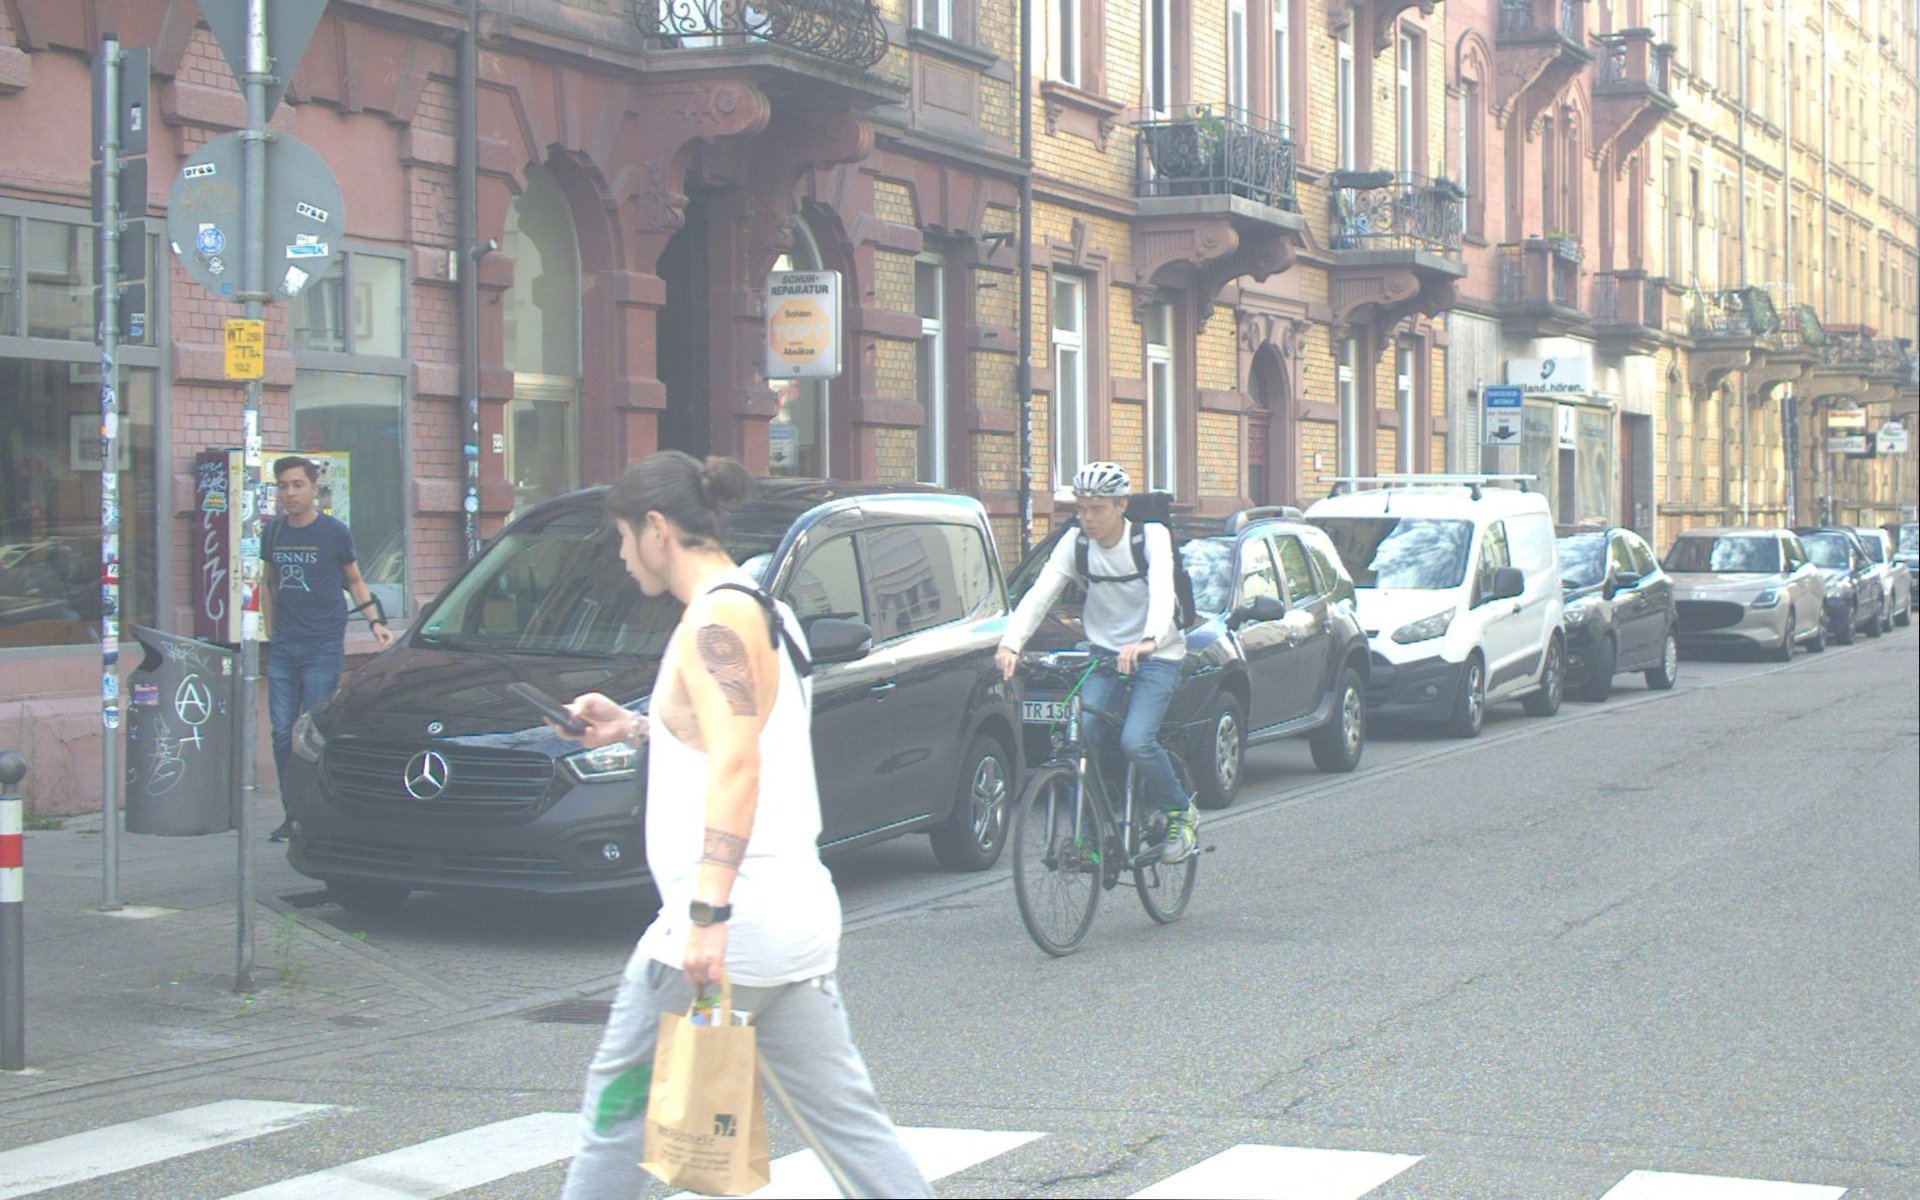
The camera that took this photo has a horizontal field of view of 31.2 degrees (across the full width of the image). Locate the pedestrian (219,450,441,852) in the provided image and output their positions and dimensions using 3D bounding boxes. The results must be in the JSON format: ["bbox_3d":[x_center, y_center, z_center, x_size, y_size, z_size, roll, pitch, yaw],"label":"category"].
[{"bbox_3d":[-2.985,0.219,16.334,0.677,1.834,0.857,3,2,17],"label":"pedestrian"}]

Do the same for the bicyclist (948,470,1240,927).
[{"bbox_3d":[0.531,0.351,13.205,0.701,1.672,1.111,-2,1,24],"label":"bicyclist"}]

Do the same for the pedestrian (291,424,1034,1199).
[{"bbox_3d":[-0.499,0.546,5.986,1.020,1.665,0.803,0,1,24],"label":"pedestrian"}]

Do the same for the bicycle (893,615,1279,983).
[{"bbox_3d":[0.530,0.714,13.185,0.701,1.216,2.114,-2,1,24],"label":"bicycle"}]

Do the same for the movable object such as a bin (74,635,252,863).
[{"bbox_3d":[-2.650,0.488,11.449,0.383,0.711,0.475,2,2,18],"label":"movable object such as a bin"}]

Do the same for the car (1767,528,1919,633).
[{"bbox_3d":[12.547,-0.304,48.260,1.692,1.382,3.862,1,2,23],"label":"car"}]

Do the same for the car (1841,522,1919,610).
[{"bbox_3d":[15.599,-0.575,56.262,1.692,1.382,3.862,1,2,23],"label":"car"}]

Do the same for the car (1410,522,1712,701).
[{"bbox_3d":[5.556,0.051,31.408,1.744,1.478,3.978,2,2,24],"label":"car"}]

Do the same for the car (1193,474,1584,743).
[{"bbox_3d":[3.377,-0.012,26.304,1.922,1.865,4.432,0,2,22],"label":"car"}]

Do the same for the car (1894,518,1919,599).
[{"bbox_3d":[18.029,-0.755,62.103,1.692,1.432,3.862,1,2,23],"label":"car"}]

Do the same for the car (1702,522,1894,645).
[{"bbox_3d":[10.841,-0.251,44.319,1.744,1.478,3.979,1,2,23],"label":"car"}]

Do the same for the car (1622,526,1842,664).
[{"bbox_3d":[8.950,-0.104,39.650,1.744,1.478,3.979,1,2,23],"label":"car"}]

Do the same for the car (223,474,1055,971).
[{"bbox_3d":[-1.184,0.385,14.891,1.762,1.767,4.401,2,2,21],"label":"car"}]

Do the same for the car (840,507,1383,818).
[{"bbox_3d":[1.028,0.274,20.540,1.996,1.632,4.141,1,2,21],"label":"car"}]
